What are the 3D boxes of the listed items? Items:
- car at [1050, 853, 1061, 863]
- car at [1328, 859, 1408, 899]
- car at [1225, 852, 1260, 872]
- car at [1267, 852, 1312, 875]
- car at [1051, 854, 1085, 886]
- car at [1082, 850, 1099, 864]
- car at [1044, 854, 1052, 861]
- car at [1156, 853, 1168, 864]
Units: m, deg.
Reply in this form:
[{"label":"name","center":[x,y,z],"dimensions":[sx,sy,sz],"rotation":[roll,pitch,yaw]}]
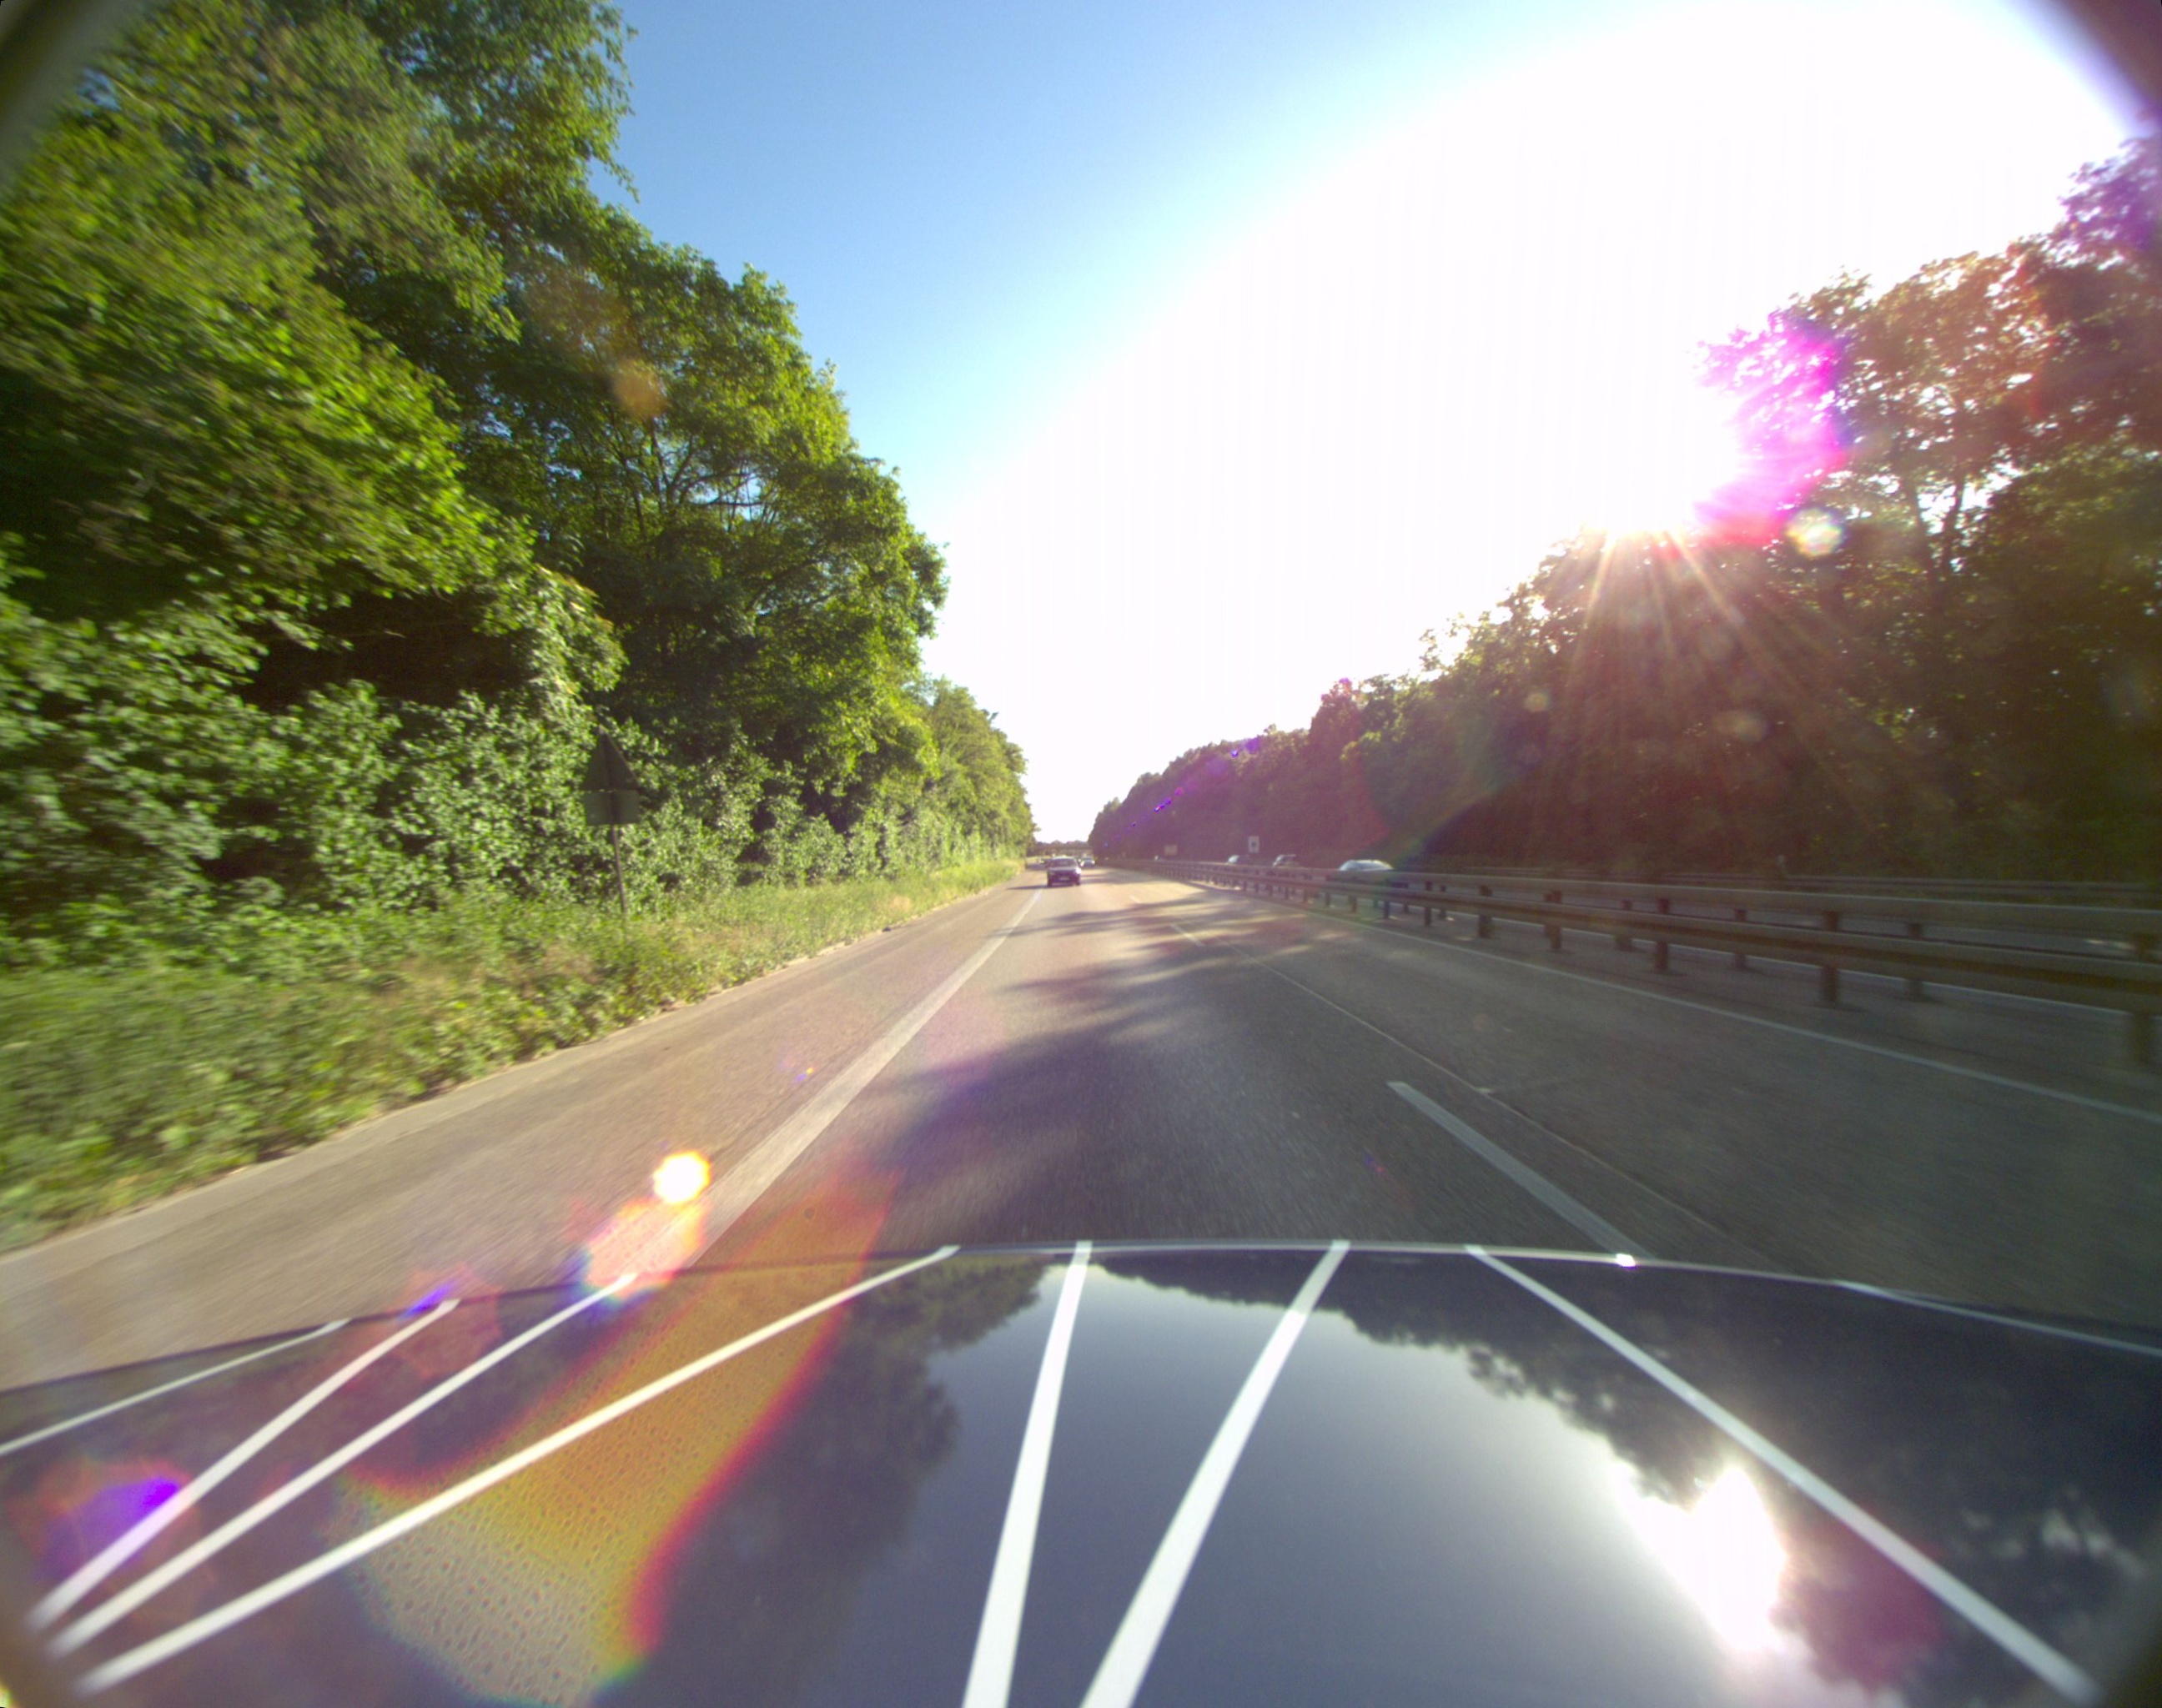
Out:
[{"label":"car","center":[-4.390,0.655,129.003],"dimensions":[1.713,1.565,3.422],"rotation":[-2,0,-1]},{"label":"car","center":[11.444,0.953,30.581],"dimensions":[1.601,1.444,4.345],"rotation":[1,0,1]},{"label":"car","center":[14.534,0.721,68.574],"dimensions":[1.999,1.739,4.549],"rotation":[1,0,-2]},{"label":"car","center":[15.176,0.667,55.520],"dimensions":[1.999,1.575,3.999],"rotation":[1,0,-2]},{"label":"car","center":[-0.685,0.823,40.870],"dimensions":[1.713,1.565,3.422],"rotation":[-2,0,-1]},{"label":"car","center":[1.322,0.394,102.693],"dimensions":[1.999,1.793,3.999],"rotation":[1,0,-3]},{"label":"car","center":[-7.590,0.704,177.286],"dimensions":[1.713,1.565,3.422],"rotation":[-2,0,-1]},{"label":"car","center":[12.198,0.665,114.755],"dimensions":[1.417,1.610,2.874],"rotation":[0,0,-2]}]
